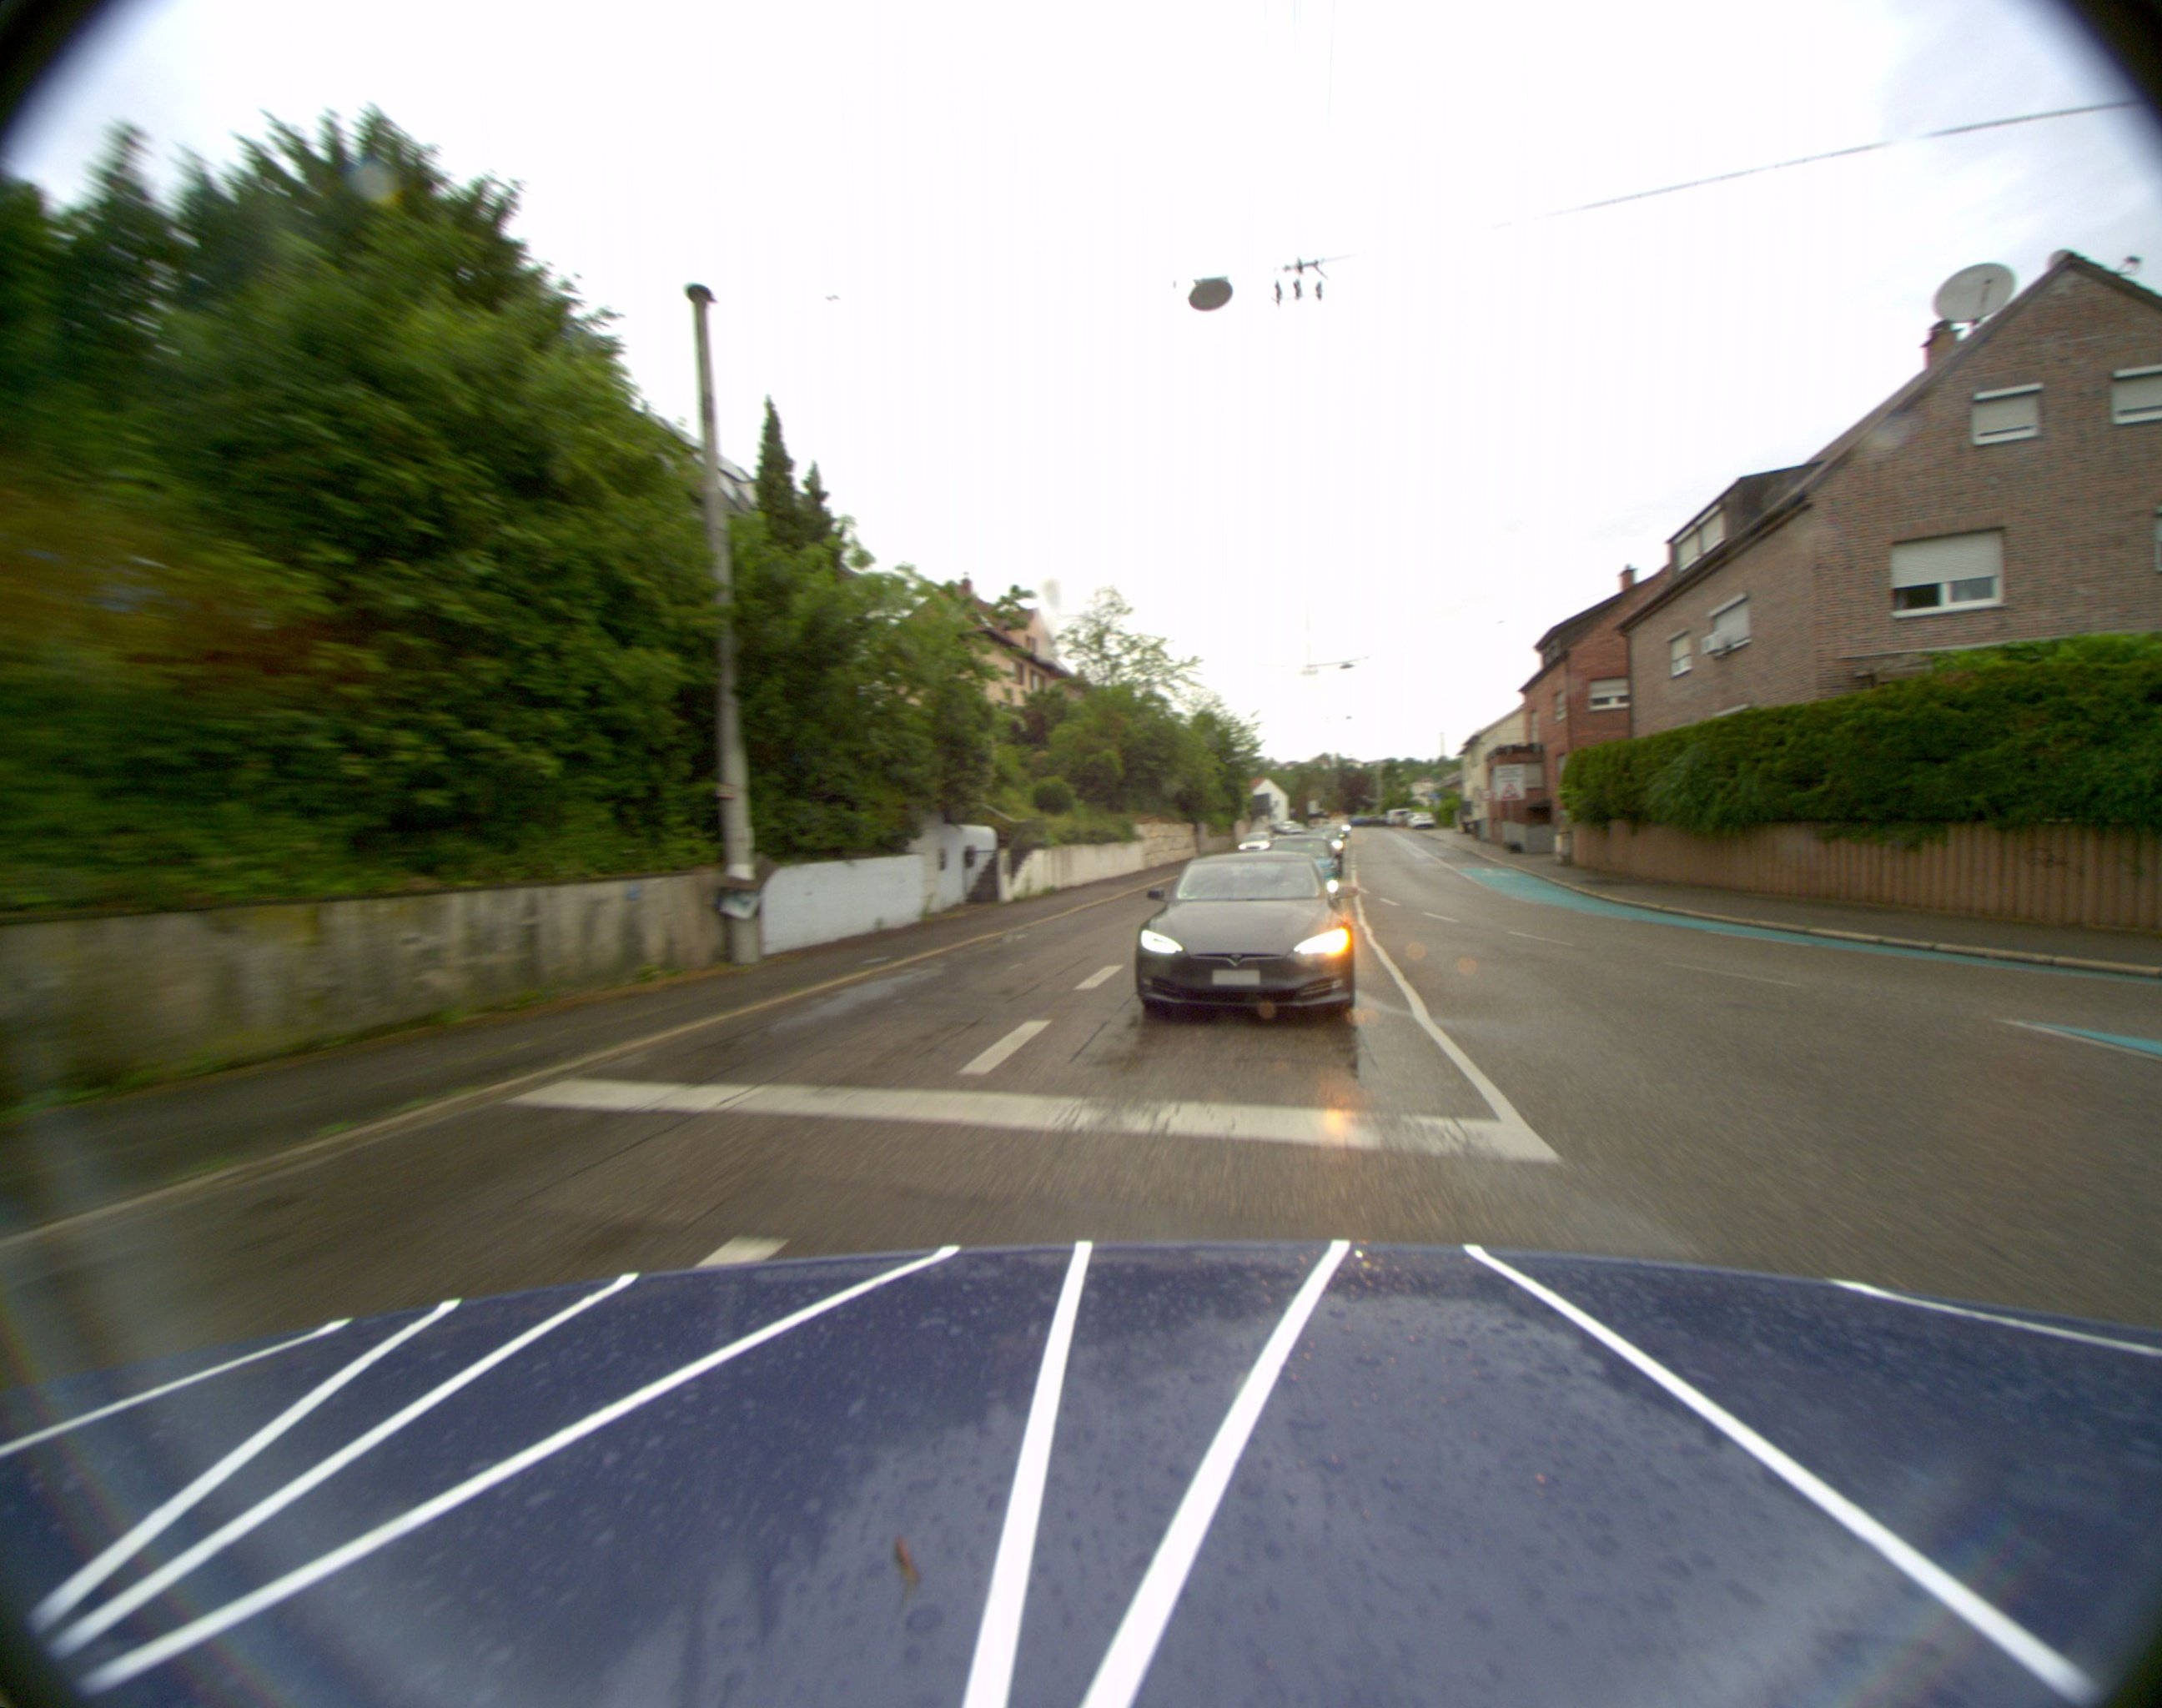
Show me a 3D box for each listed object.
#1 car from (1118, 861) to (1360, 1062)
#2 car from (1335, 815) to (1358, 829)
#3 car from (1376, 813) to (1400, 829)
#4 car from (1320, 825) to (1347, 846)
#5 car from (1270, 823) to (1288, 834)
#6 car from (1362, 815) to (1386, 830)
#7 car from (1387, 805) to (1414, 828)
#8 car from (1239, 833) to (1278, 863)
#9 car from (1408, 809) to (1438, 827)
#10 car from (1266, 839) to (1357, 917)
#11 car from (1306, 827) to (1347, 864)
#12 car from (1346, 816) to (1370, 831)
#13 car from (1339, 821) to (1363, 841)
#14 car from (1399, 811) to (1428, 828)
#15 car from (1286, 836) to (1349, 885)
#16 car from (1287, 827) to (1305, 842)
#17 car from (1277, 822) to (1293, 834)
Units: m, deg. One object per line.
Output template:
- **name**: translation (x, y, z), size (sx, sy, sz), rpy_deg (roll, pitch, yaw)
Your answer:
- **car**: translation (1.802, 0.887, 8.136), size (1.833, 1.384, 4.328), rpy_deg (-3, 1, 16)
- **car**: translation (38.613, -4.644, 110.651), size (1.772, 1.749, 4.323), rpy_deg (-3, 1, 0)
- **car**: translation (37.989, -4.036, 94.124), size (1.771, 1.749, 4.326), rpy_deg (-3, 1, 10)
- **car**: translation (19.068, -1.405, 57.391), size (1.756, 1.452, 4.045), rpy_deg (-1, 1, 16)
- **car**: translation (26.016, -3.338, 99.932), size (1.614, 1.391, 3.365), rpy_deg (-3, 2, 5)
- **car**: translation (38.276, -4.128, 99.365), size (1.771, 1.749, 4.325), rpy_deg (-3, 1, 5)
- **car**: translation (37.188, -4.303, 88.474), size (2.009, 2.442, 4.453), rpy_deg (-3, 1, 13)
- **car**: translation (9.901, -0.334, 42.249), size (1.549, 1.443, 3.369), rpy_deg (-3, 2, 21)
- **car**: translation (33.623, -3.537, 74.850), size (1.947, 1.600, 4.454), rpy_deg (-3, 1, 16)
- **car**: translation (5.447, 0.486, 18.272), size (1.799, 1.600, 4.045), rpy_deg (-3, 1, 15)
- **car**: translation (11.786, -0.428, 36.706), size (1.756, 1.640, 4.045), rpy_deg (-1, 1, 16)
- **car**: translation (38.503, -4.222, 105.660), size (1.772, 1.749, 4.324), rpy_deg (-3, 1, 2)
- **car**: translation (24.987, -2.098, 70.510), size (1.756, 1.640, 4.045), rpy_deg (-5, 0, 16)
- **car**: translation (35.509, -3.701, 81.241), size (1.947, 1.600, 4.453), rpy_deg (-3, 1, 13)
- **car**: translation (8.419, 0.170, 26.830), size (1.755, 1.452, 4.046), rpy_deg (-1, 3, 22)
- **car**: translation (22.160, -2.002, 78.321), size (1.613, 1.391, 3.367), rpy_deg (-3, 2, 14)
- **car**: translation (25.288, -3.196, 94.346), size (1.613, 1.391, 3.366), rpy_deg (-3, 2, 10)
